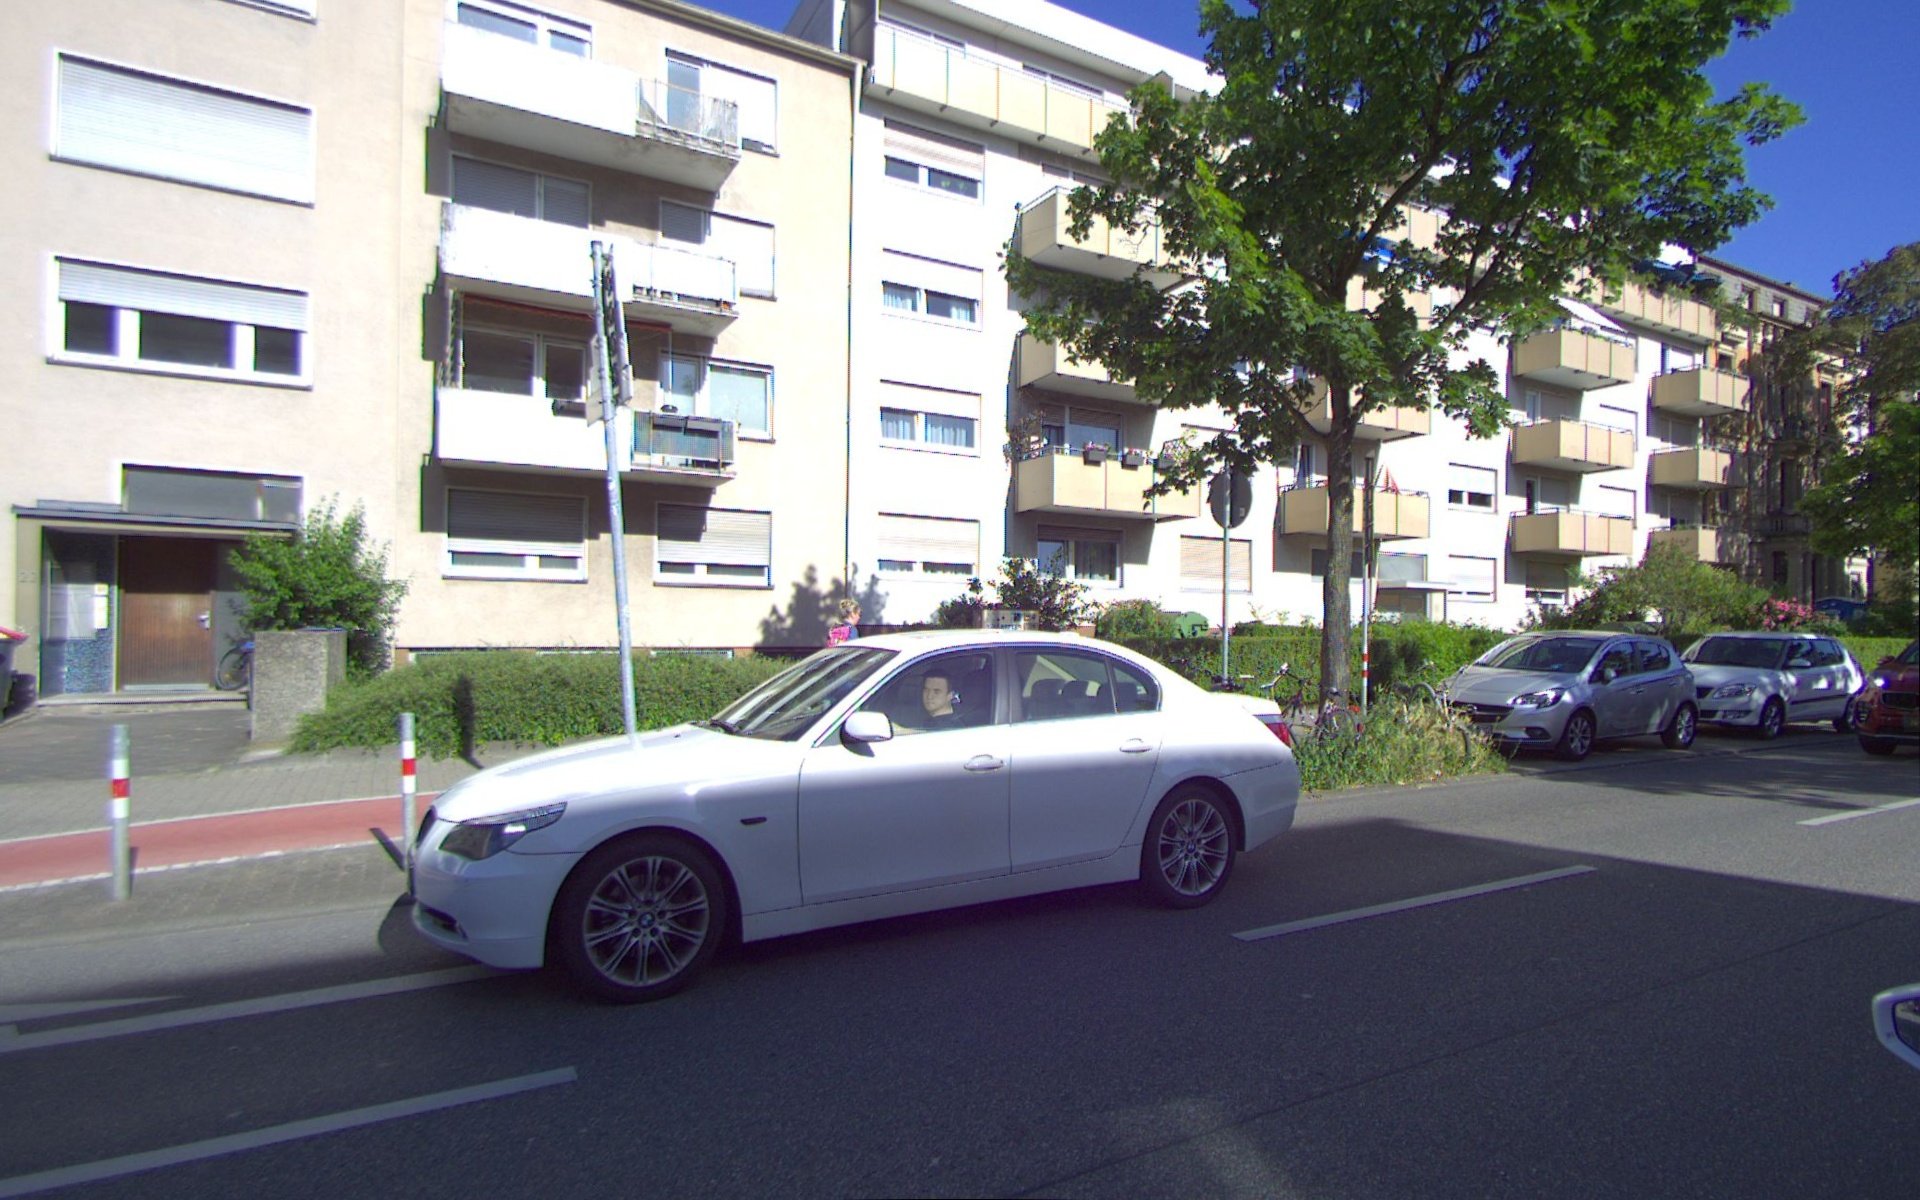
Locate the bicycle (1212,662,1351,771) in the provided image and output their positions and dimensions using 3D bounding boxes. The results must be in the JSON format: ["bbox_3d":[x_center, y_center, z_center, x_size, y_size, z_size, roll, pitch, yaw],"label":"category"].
[{"bbox_3d":[3.487,1.233,11.017,0.442,0.978,1.529,1,1,-29],"label":"bicycle"}]

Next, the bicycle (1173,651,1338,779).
[{"bbox_3d":[3.063,1.155,10.607,0.487,1.101,1.818,1,1,-29],"label":"bicycle"}]

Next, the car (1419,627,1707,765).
[{"bbox_3d":[7.736,1.111,12.809,3.851,1.495,1.496,1,0,-31],"label":"car"}]

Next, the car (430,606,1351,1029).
[{"bbox_3d":[-0.219,0.855,5.502,4.720,1.484,1.806,1,-3,-29],"label":"car"}]

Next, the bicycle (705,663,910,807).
[{"bbox_3d":[-1.273,1.108,8.560,1.687,1.093,0.424,1,-1,-30],"label":"bicycle"}]

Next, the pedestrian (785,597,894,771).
[{"bbox_3d":[-1.248,0.830,10.393,0.919,1.709,0.666,1,0,-30],"label":"pedestrian"}]

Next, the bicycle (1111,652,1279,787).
[{"bbox_3d":[2.332,1.150,10.198,0.553,1.101,1.818,1,1,-29],"label":"bicycle"}]

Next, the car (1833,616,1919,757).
[{"bbox_3d":[13.086,1.032,12.664,4.246,1.638,1.715,1,-4,-29],"label":"car"}]

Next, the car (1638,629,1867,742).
[{"bbox_3d":[12.032,1.212,15.207,3.639,1.509,1.395,1,0,-28],"label":"car"}]

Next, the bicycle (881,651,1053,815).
[{"bbox_3d":[0.002,1.089,8.835,0.513,1.178,1.956,1,0,-33],"label":"bicycle"}]

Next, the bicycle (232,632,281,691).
[{"bbox_3d":[-10.282,0.887,14.678,0.849,0.829,0.309,0,-1,35],"label":"bicycle"}]

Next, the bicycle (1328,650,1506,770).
[{"bbox_3d":[5.109,1.191,11.352,0.553,1.101,1.818,1,1,-29],"label":"bicycle"}]
